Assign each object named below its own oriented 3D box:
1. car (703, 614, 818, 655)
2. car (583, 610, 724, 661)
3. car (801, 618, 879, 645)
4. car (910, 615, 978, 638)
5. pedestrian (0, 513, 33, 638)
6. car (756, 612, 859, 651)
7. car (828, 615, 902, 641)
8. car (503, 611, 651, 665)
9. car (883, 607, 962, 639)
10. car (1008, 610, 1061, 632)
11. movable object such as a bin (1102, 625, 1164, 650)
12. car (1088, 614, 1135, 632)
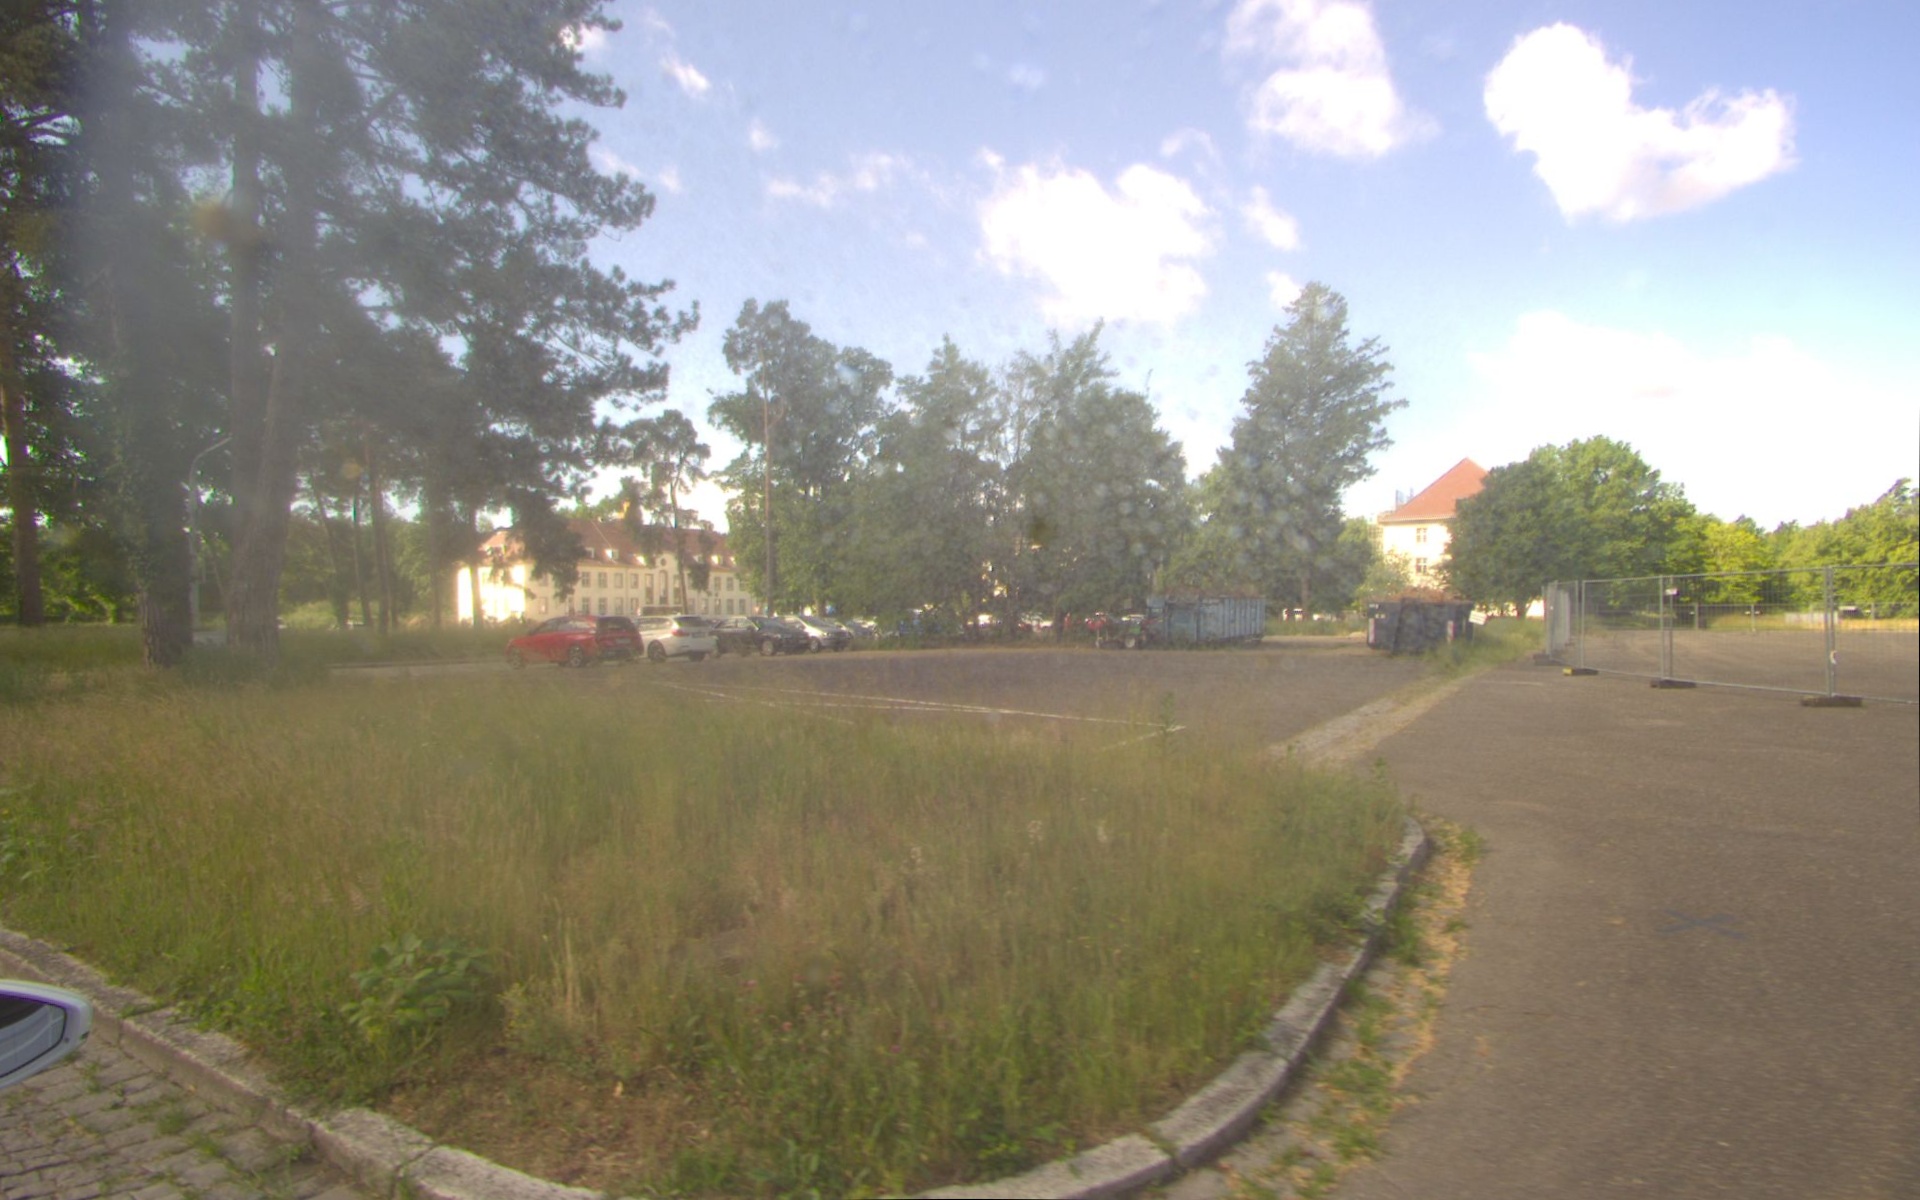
[{"bbox_3d":[-7.060,1.201,35.286,3.988,1.332,1.612,-1,0,33],"label":"car"},{"bbox_3d":[-9.433,1.100,30.743,4.180,1.396,1.776,-3,-2,31],"label":"car"},{"bbox_3d":[-6.702,1.741,55.632,4.181,1.443,1.721,-1,-2,33],"label":"car"},{"bbox_3d":[-1.024,1.749,64.963,4.181,1.443,1.721,-1,-2,33],"label":"car"},{"bbox_3d":[-14.725,-0.350,14.857,1.154,1.820,1.058,-1,1,-28],"label":"pedestrian"},{"bbox_3d":[-5.798,1.195,37.942,3.740,1.390,1.720,-1,-2,34],"label":"car"},{"bbox_3d":[-5.567,1.641,58.479,4.181,1.487,1.721,-1,-2,33],"label":"car"},{"bbox_3d":[-10.841,1.092,28.265,4.266,1.416,1.744,-2,-2,33],"label":"car"},{"bbox_3d":[-2.374,1.444,62.662,4.677,1.972,1.982,-1,-2,33],"label":"car"},{"bbox_3d":[5.631,1.600,75.666,3.640,1.568,1.705,-1,-2,33],"label":"car"},{"bbox_3d":[5.512,1.172,31.880,1.696,0.762,1.143,-1,-1,26],"label":"movable object such as a bin"},{"bbox_3d":[13.205,2.007,87.438,3.682,1.568,1.705,-1,-2,33],"label":"car"}]
